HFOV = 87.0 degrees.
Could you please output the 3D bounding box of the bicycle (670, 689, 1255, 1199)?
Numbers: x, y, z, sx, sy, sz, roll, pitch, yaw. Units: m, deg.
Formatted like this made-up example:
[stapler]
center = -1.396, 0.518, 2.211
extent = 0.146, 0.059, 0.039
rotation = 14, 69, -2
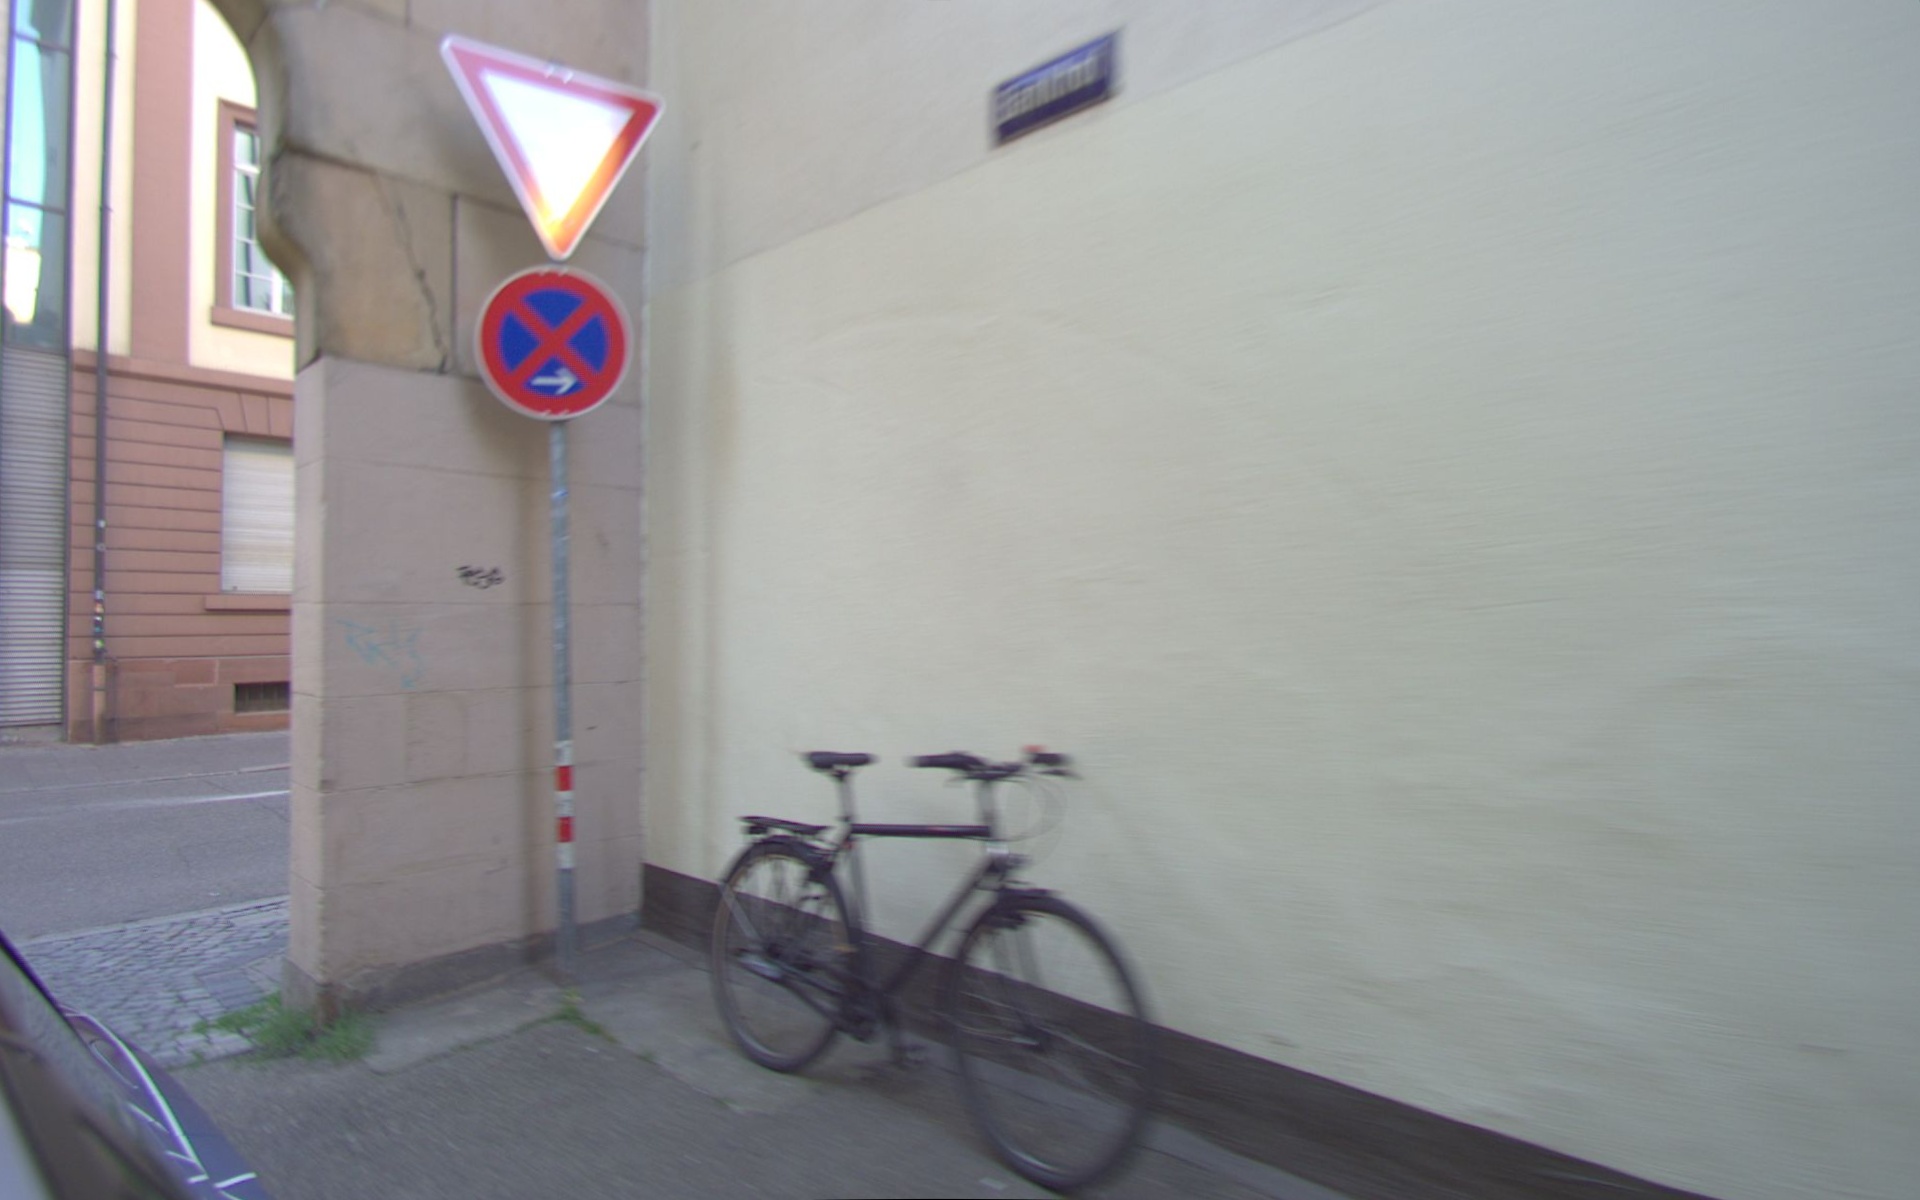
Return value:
[bicycle]
center = -0.105, 0.858, 2.919
extent = 1.756, 1.087, 0.588
rotation = -1, -1, 43
